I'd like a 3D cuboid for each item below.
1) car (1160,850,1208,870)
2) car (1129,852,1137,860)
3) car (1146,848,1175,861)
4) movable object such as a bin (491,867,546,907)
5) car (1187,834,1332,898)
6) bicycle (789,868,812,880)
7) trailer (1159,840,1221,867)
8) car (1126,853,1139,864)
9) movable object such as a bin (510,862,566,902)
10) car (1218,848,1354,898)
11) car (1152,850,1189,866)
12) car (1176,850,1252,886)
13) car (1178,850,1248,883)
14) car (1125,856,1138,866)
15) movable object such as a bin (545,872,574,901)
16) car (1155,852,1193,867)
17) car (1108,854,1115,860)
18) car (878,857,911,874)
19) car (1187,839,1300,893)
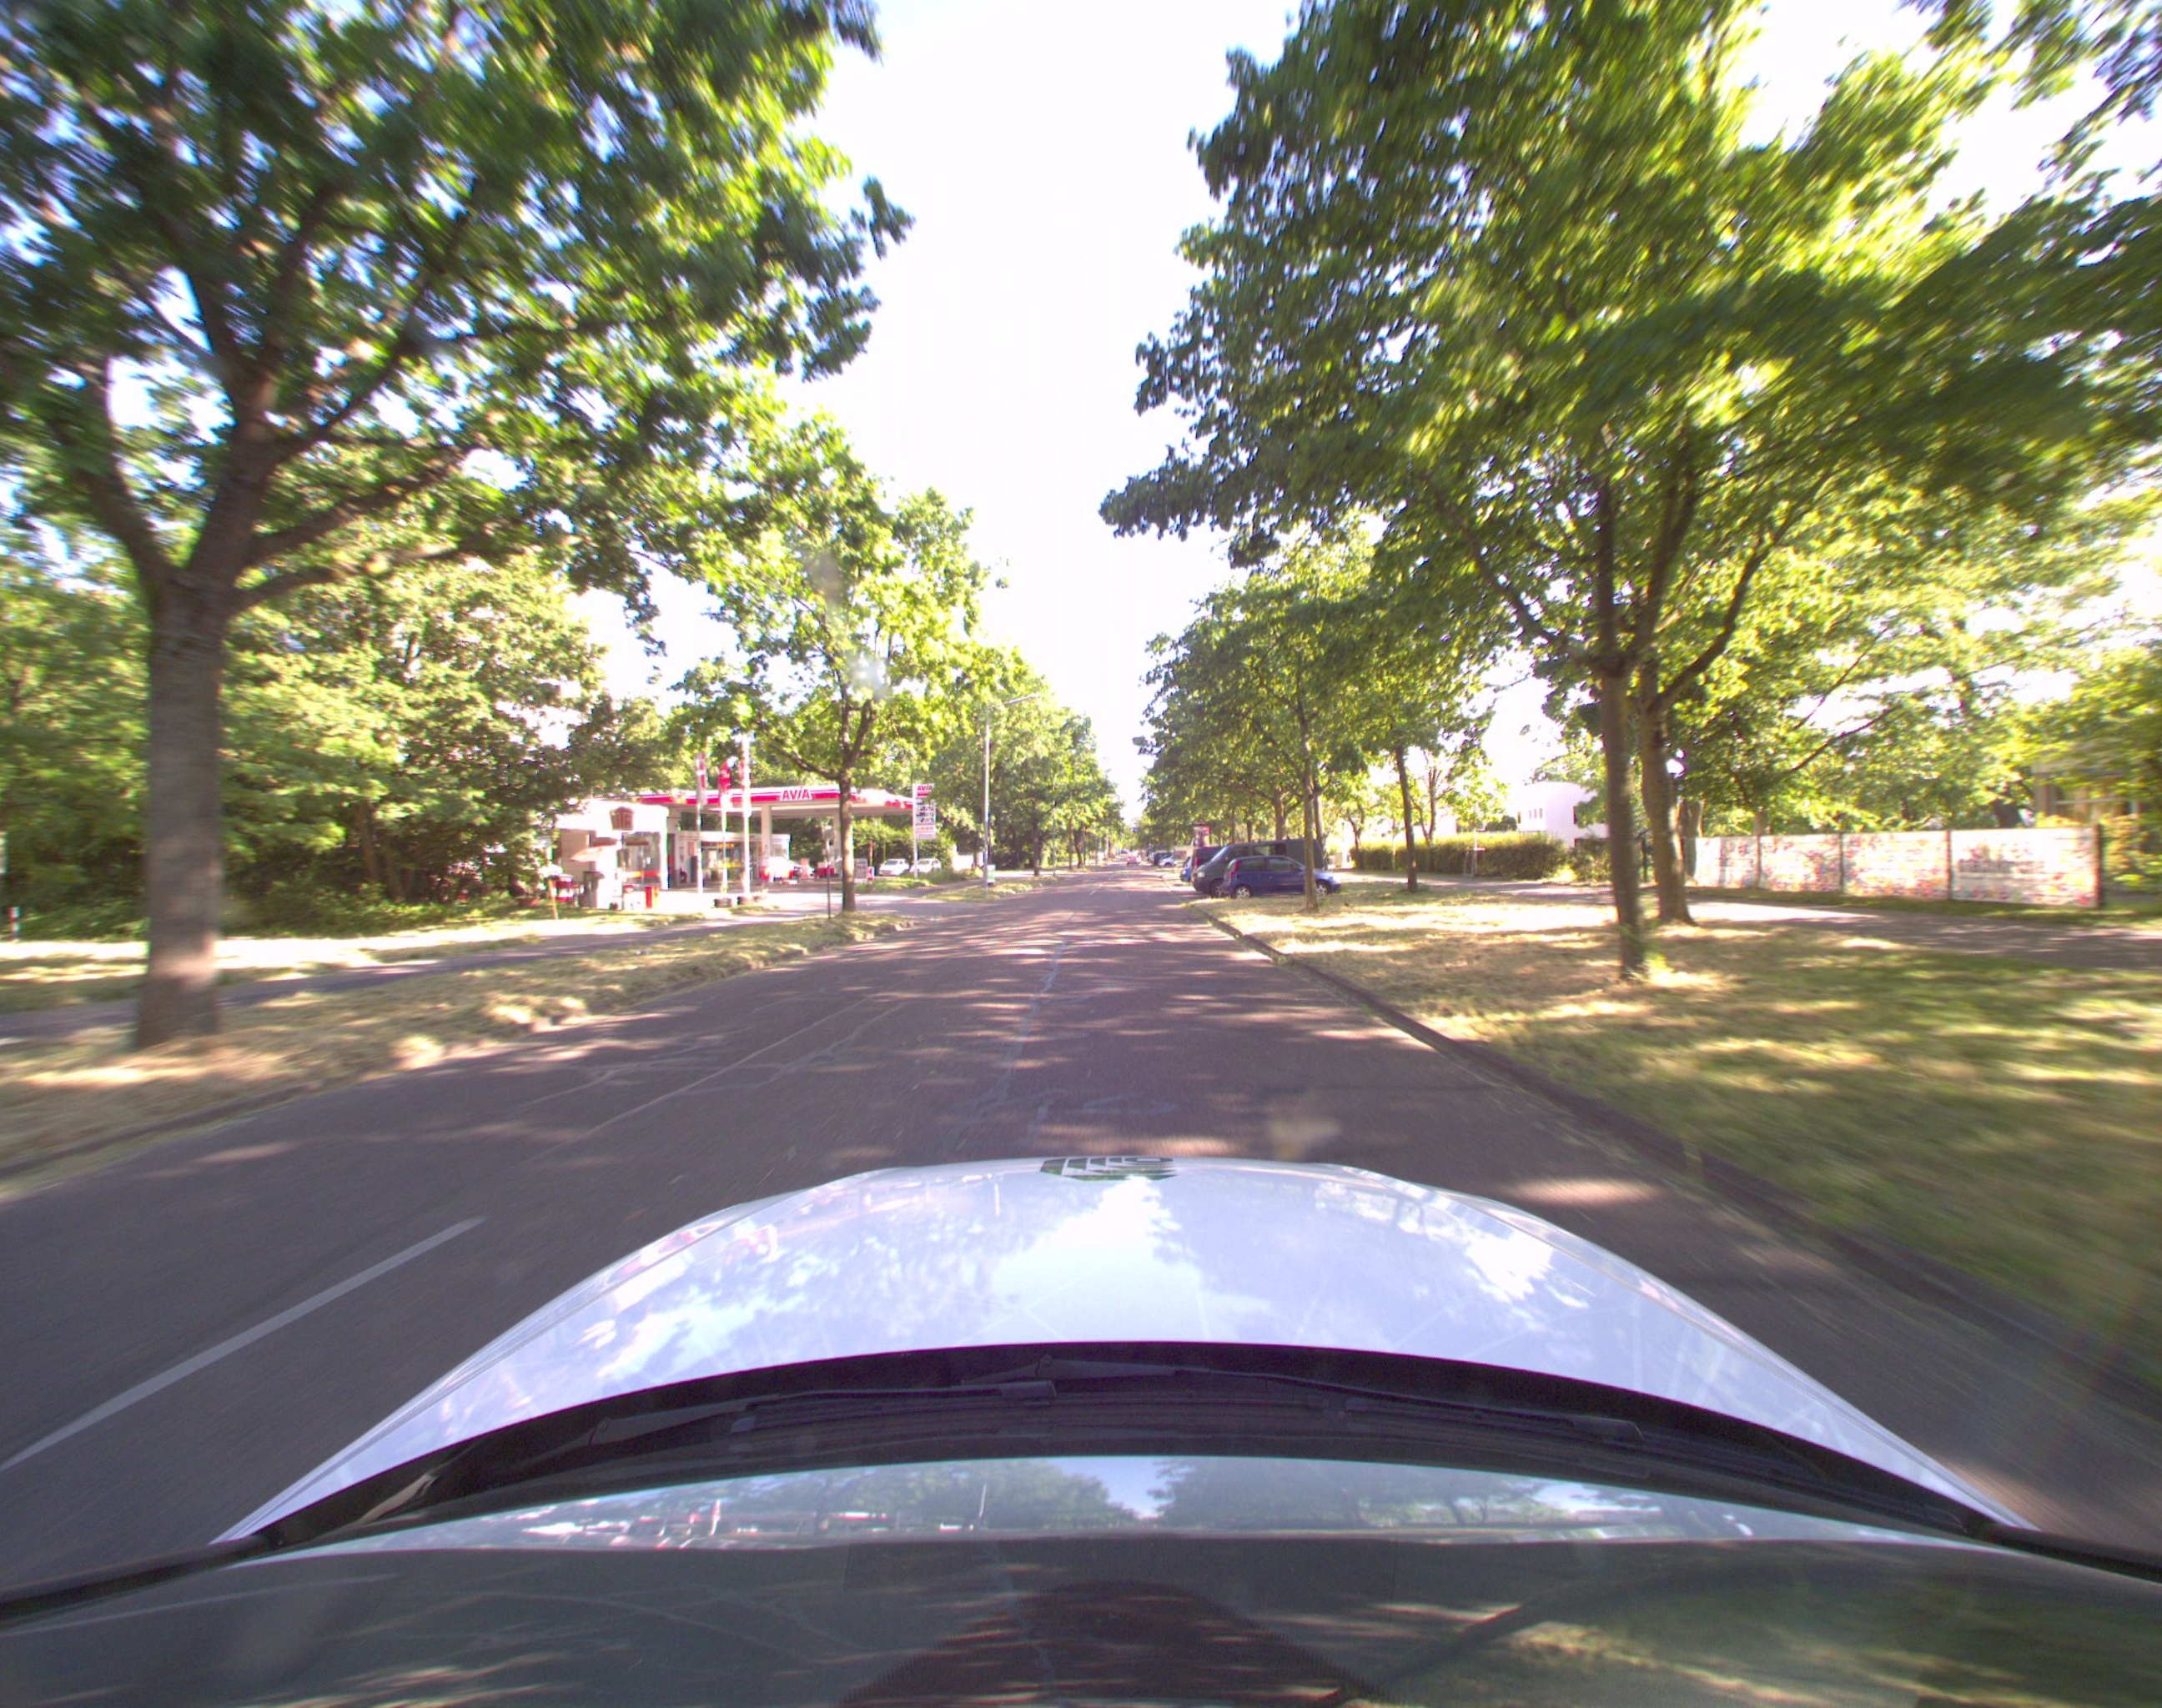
[{"bbox_3d":[10.307,0.595,81.694,4.621,1.722,1.990,-3,0,4],"label":"car"},{"bbox_3d":[13.053,0.420,204.611,1.985,1.933,4.003,-1,0,3],"label":"car"},{"bbox_3d":[14.443,0.091,148.605,5.167,2.105,2.083,-2,-1,2],"label":"car"},{"bbox_3d":[-22.214,1.276,32.187,1.298,1.542,1.165,0,0,4],"label":"movable object such as a bin"},{"bbox_3d":[6.307,0.421,29.231,4.783,2.032,1.945,-2,0,3],"label":"car"},{"bbox_3d":[-21.087,1.496,61.204,0.612,0.807,1.788,-1,0,19],"label":"bicycle"},{"bbox_3d":[10.535,-0.040,78.906,5.746,2.317,1.688,-3,0,5],"label":"trailer"},{"bbox_3d":[7.880,0.698,124.649,1.986,1.484,4.002,-1,-1,2],"label":"car"},{"bbox_3d":[-21.546,1.102,32.322,1.298,1.542,1.269,-1,0,4],"label":"movable object such as a bin"},{"bbox_3d":[6.561,0.593,26.384,3.972,1.403,1.741,-2,0,3],"label":"car"},{"bbox_3d":[11.127,0.451,101.264,4.510,1.801,1.938,-3,0,3],"label":"car"},{"bbox_3d":[6.454,0.665,39.761,3.504,1.532,1.667,-3,-1,5],"label":"car"},{"bbox_3d":[7.150,0.664,44.344,3.566,1.576,1.789,-3,-1,5],"label":"car"},{"bbox_3d":[8.730,1.156,141.553,1.987,1.655,4.000,-1,-1,1],"label":"car"},{"bbox_3d":[-20.594,1.271,32.166,0.566,1.085,0.769,-1,0,4],"label":"movable object such as a bin"},{"bbox_3d":[10.778,0.602,94.550,4.225,1.519,2.081,-3,0,5],"label":"car"},{"bbox_3d":[8.653,0.933,232.020,1.985,1.716,4.003,-1,0,3],"label":"car"},{"bbox_3d":[-15.581,0.937,68.068,1.413,1.367,3.215,0,0,12],"label":"car"},{"bbox_3d":[6.283,0.462,31.784,3.995,1.837,1.799,-3,-1,1],"label":"car"}]
